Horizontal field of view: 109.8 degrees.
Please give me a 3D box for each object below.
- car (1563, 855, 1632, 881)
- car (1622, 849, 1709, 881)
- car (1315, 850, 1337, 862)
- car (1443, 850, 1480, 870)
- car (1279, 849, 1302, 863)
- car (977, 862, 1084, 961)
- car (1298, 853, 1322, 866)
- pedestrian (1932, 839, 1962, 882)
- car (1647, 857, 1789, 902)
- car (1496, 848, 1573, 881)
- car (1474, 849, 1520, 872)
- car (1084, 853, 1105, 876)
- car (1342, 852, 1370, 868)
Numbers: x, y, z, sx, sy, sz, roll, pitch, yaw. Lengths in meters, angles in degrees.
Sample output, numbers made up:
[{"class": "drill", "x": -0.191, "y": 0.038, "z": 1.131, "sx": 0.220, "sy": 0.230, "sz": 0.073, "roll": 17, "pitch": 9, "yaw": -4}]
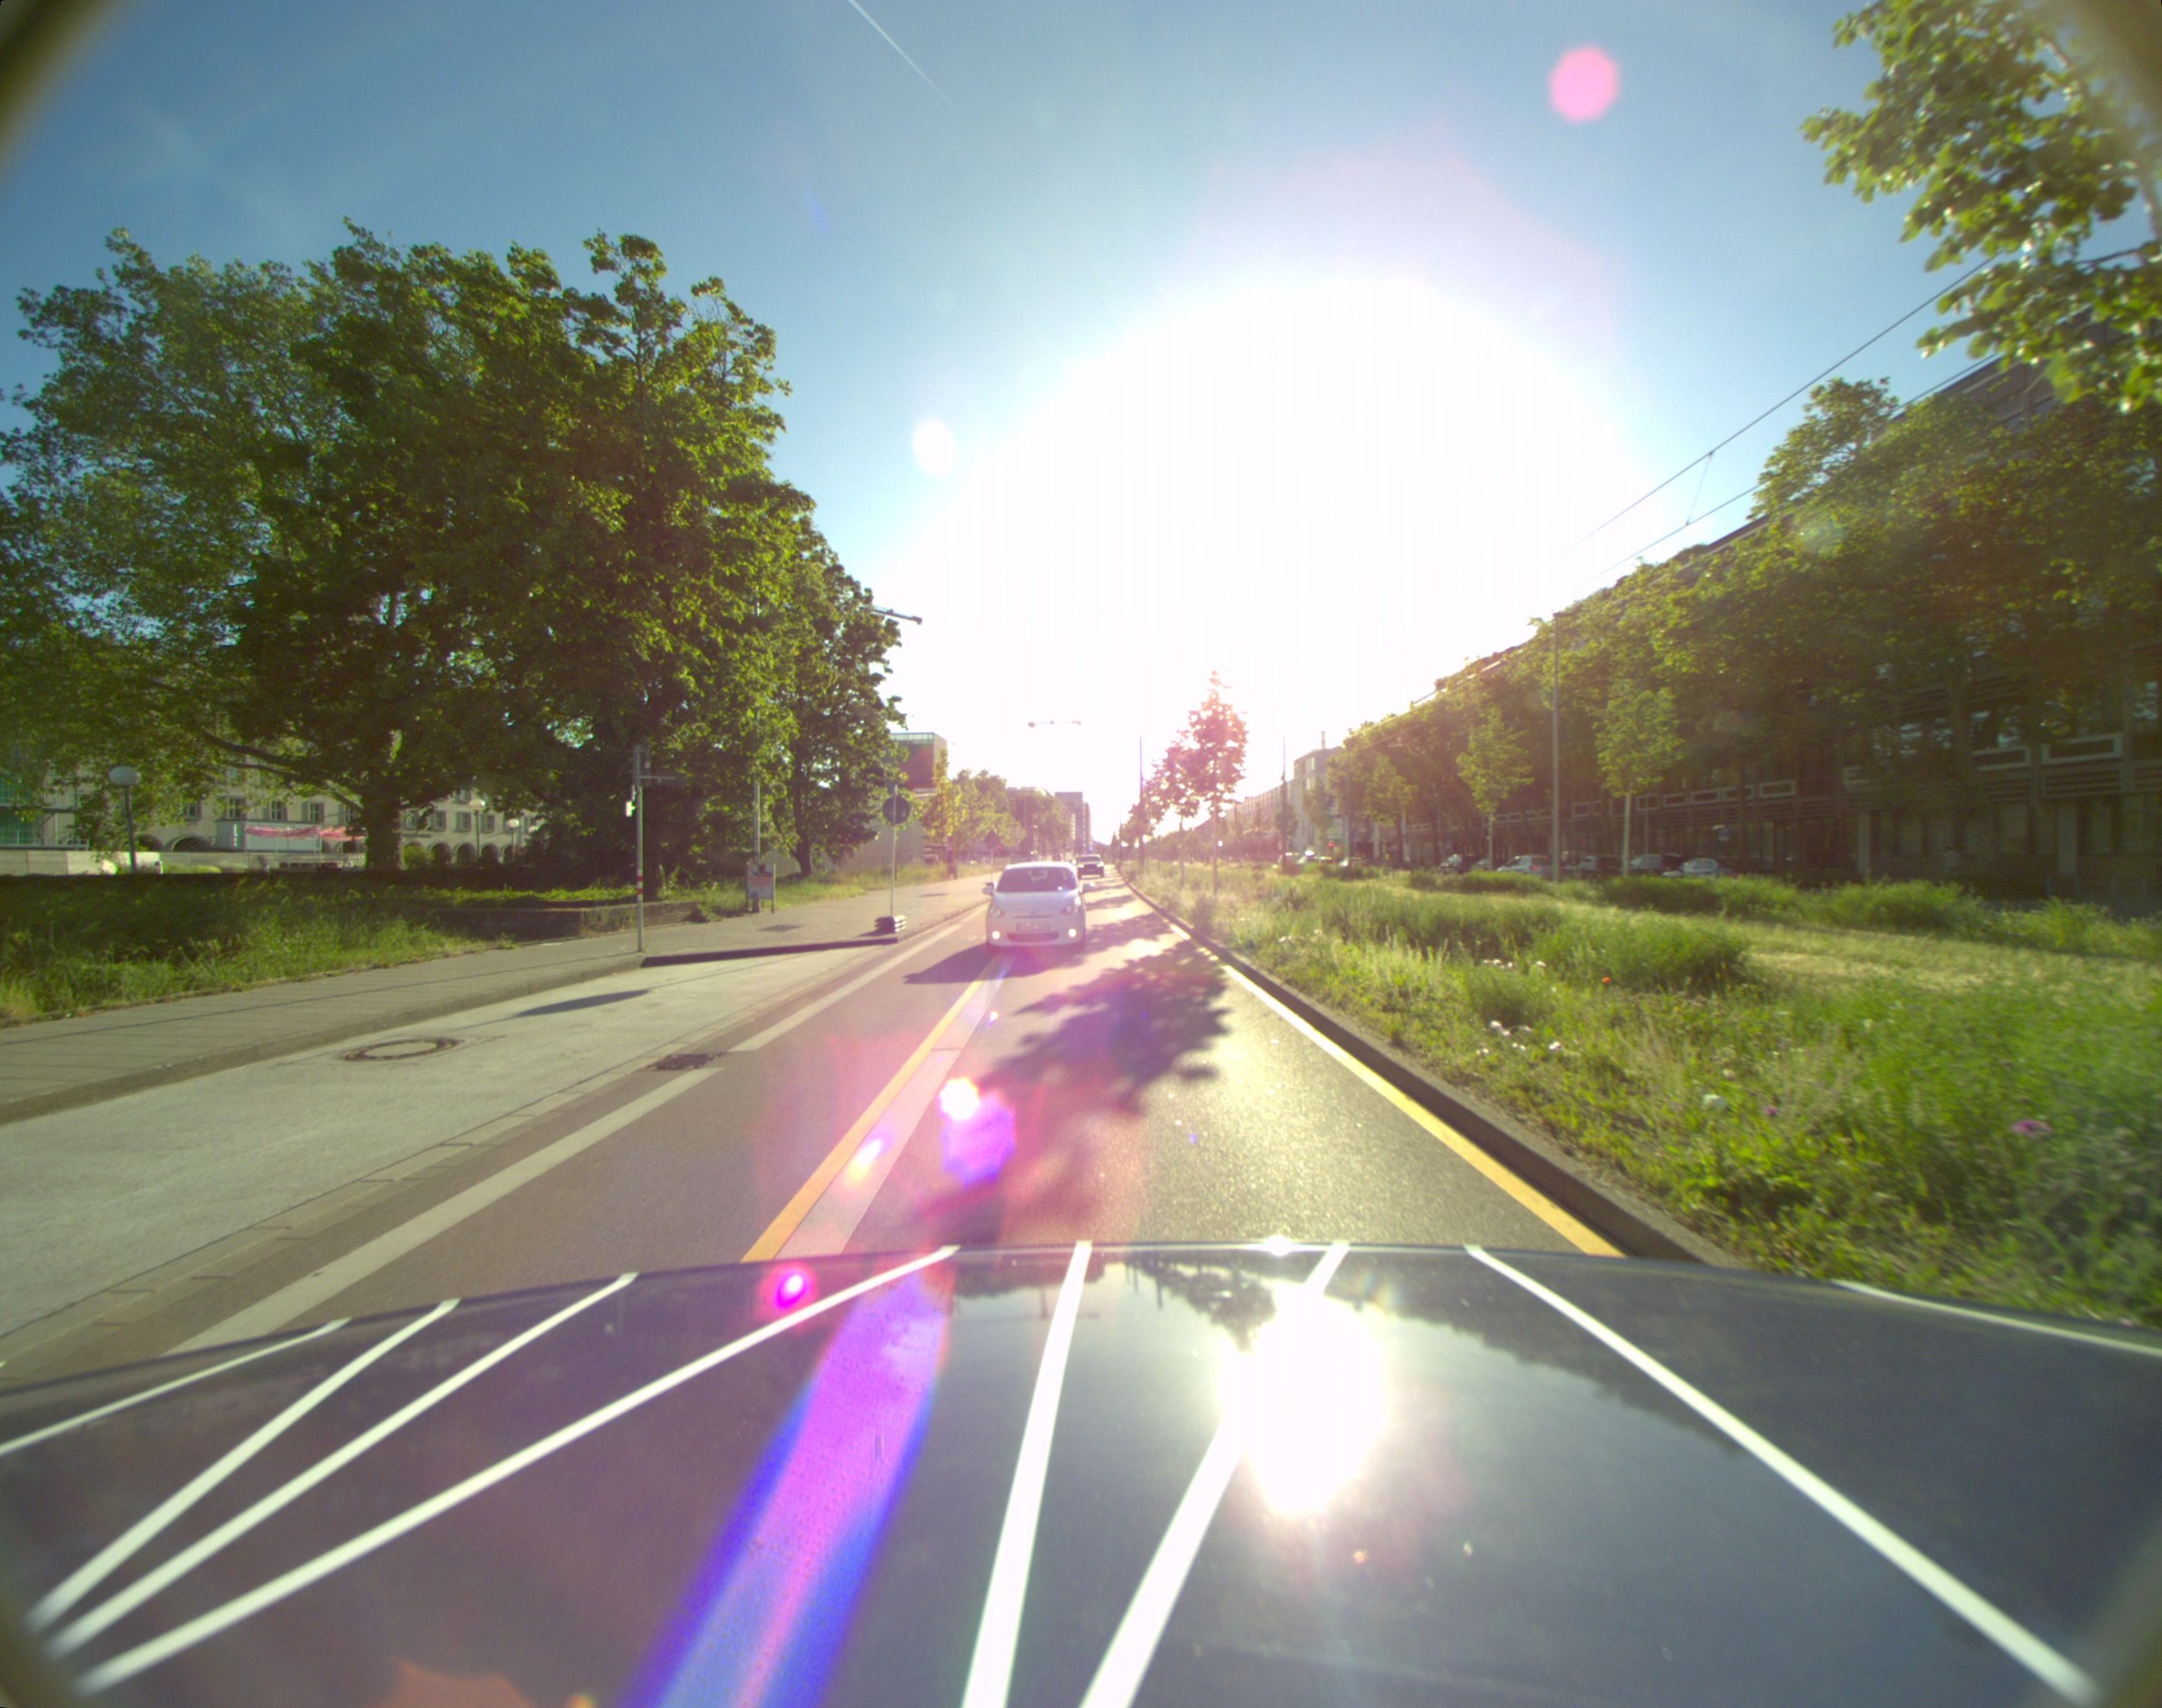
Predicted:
[{"class": "car", "x": 30.927, "y": 0.799, "z": 45.614, "sx": 1.726, "sy": 1.477, "sz": 3.631, "roll": 0, "pitch": 0, "yaw": 0}, {"class": "car", "x": 30.369, "y": 0.534, "z": 39.624, "sx": 1.726, "sy": 1.535, "sz": 3.631, "roll": -2, "pitch": 0, "yaw": 0}, {"class": "car", "x": 28.491, "y": 0.273, "z": 88.443, "sx": 1.554, "sy": 1.371, "sz": 3.780, "roll": 0, "pitch": 0, "yaw": 3}, {"class": "car", "x": 31.359, "y": 0.460, "z": 62.647, "sx": 1.390, "sy": 1.592, "sz": 3.266, "roll": -2, "pitch": 0, "yaw": 1}, {"class": "car", "x": 25.488, "y": 0.186, "z": 92.574, "sx": 1.865, "sy": 1.671, "sz": 3.780, "roll": 0, "pitch": 0, "yaw": 3}, {"class": "car", "x": -0.820, "y": 0.953, "z": 14.110, "sx": 1.614, "sy": 1.489, "sz": 3.394, "roll": -3, "pitch": 0, "yaw": 1}, {"class": "car", "x": 24.665, "y": 0.529, "z": 81.851, "sx": 1.554, "sy": 1.371, "sz": 3.780, "roll": 0, "pitch": 0, "yaw": 3}, {"class": "pedestrian", "x": 35.198, "y": 0.260, "z": 30.881, "sx": 0.483, "sy": 1.739, "sz": 0.639, "roll": 0, "pitch": 1, "yaw": 3}, {"class": "car", "x": 23.115, "y": 0.863, "z": 27.830, "sx": 1.631, "sy": 1.487, "sz": 4.417, "roll": 0, "pitch": 0, "yaw": 3}, {"class": "car", "x": 21.927, "y": 0.485, "z": 36.896, "sx": 1.631, "sy": 1.487, "sz": 3.780, "roll": 0, "pitch": 0, "yaw": 3}, {"class": "car", "x": 31.082, "y": 0.464, "z": 56.871, "sx": 1.510, "sy": 1.592, "sz": 3.527, "roll": -2, "pitch": 0, "yaw": 1}, {"class": "car", "x": 0.963, "y": 0.731, "z": 55.209, "sx": 1.459, "sy": 1.472, "sz": 3.527, "roll": -3, "pitch": 1, "yaw": 0}, {"class": "car", "x": 27.395, "y": 0.574, "z": 75.754, "sx": 1.631, "sy": 1.487, "sz": 3.780, "roll": 0, "pitch": 0, "yaw": 3}]
